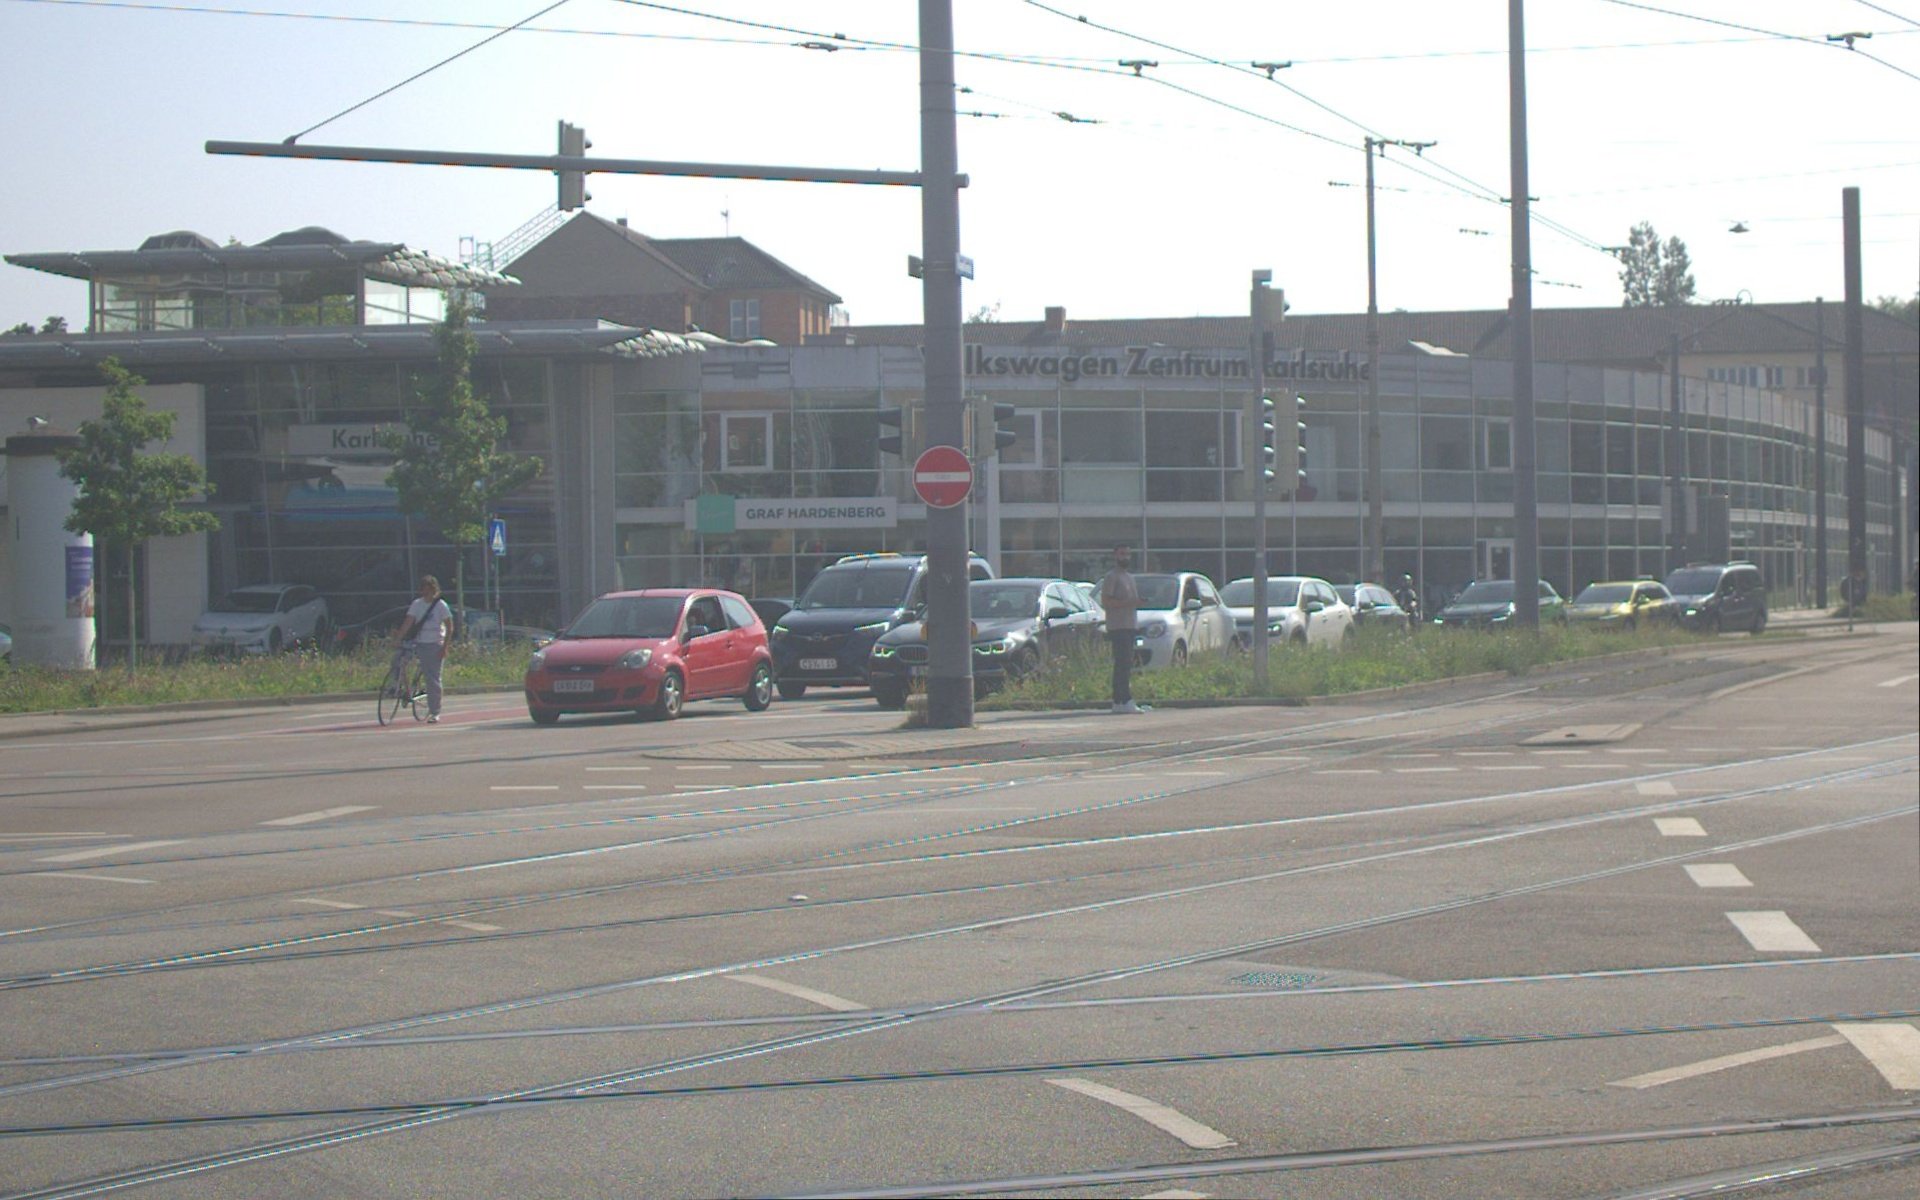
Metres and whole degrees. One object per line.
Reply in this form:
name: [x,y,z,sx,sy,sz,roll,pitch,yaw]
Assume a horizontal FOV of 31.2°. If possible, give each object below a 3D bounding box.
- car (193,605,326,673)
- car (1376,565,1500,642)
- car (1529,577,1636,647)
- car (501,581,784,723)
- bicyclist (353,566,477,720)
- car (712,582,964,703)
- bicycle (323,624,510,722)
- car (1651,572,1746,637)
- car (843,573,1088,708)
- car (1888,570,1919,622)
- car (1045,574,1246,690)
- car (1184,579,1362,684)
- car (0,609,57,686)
car: [-16.154,0.883,79.464,1.700,1.517,4.098,0,0,9]
car: [9.832,0.061,70.492,1.616,1.471,3.996,-2,-1,21]
car: [14.010,0.259,77.232,1.616,1.471,3.996,-2,-1,21]
car: [-3.535,0.559,39.021,1.616,1.471,3.996,-2,-1,20]
bicyclist: [-6.265,0.481,39.583,0.959,1.743,1.165,0,0,21]
car: [-1.575,0.537,45.861,1.962,1.471,3.996,-2,-1,20]
bicycle: [-6.242,0.820,39.646,0.959,1.053,2.605,0,0,21]
car: [17.839,0.090,82.934,1.616,1.471,3.996,-2,-1,21]
car: [0.118,0.453,40.949,1.616,1.471,3.996,-2,-1,20]
car: [28.650,-0.141,102.219,1.616,1.471,3.996,-2,-1,21]
car: [2.580,0.415,47.042,1.616,1.471,3.996,-2,-1,20]
car: [4.782,0.453,52.061,1.616,1.471,3.996,-2,-1,21]
car: [-20.599,0.952,69.709,4.087,1.517,1.704,0,0,10]
